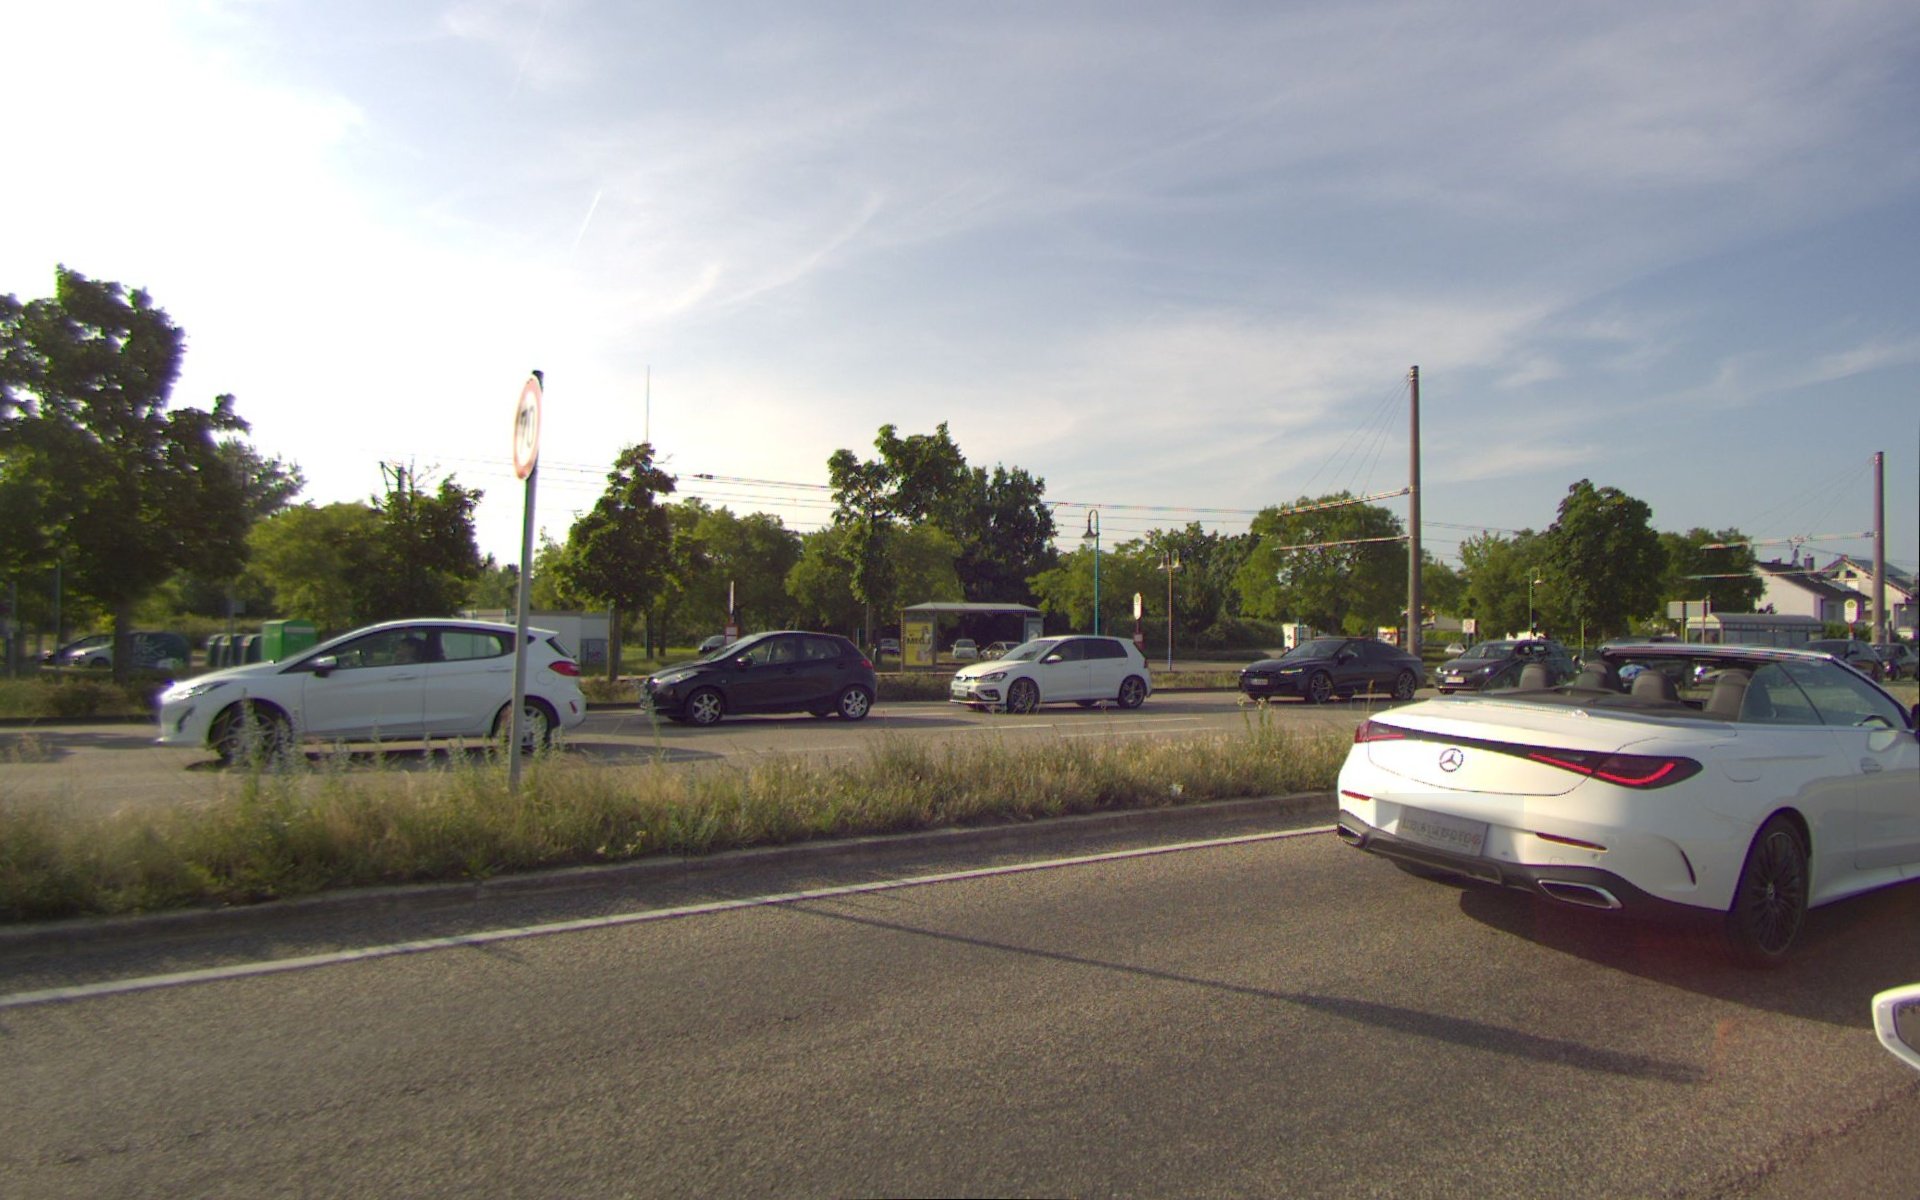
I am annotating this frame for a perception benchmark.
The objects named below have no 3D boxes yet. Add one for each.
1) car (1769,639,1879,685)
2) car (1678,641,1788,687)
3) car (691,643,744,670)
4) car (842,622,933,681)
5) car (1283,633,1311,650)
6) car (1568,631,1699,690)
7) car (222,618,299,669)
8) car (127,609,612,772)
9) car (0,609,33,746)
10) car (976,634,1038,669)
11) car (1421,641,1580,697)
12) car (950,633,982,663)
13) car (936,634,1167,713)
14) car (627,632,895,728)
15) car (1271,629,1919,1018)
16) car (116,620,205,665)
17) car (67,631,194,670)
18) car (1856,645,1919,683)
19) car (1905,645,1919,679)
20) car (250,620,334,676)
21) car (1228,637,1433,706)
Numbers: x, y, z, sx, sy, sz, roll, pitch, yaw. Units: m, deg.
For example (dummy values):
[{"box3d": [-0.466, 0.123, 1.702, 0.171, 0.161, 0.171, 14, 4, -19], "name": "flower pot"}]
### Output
[{"box3d": [31.523, 2.251, 36.624, 4.493, 1.583, 1.653, 2, -3, -30], "name": "car"}, {"box3d": [26.042, 2.130, 33.823, 3.760, 1.450, 1.653, 2, -3, -30], "name": "car"}, {"box3d": [-15.722, 3.661, 65.384, 1.921, 1.432, 4.160, 2, 0, 9], "name": "car"}, {"box3d": [-2.315, 1.549, 31.059, 1.968, 1.573, 3.985, 2, 0, -17], "name": "car"}, {"box3d": [30.249, 3.746, 90.196, 1.699, 1.384, 3.626, -1, -4, 7], "name": "car"}, {"box3d": [20.633, 1.832, 30.739, 4.179, 1.709, 1.653, 2, -3, -30], "name": "car"}, {"box3d": [-28.777, 1.776, 41.437, 1.808, 1.902, 3.655, 2, 0, -22], "name": "car"}, {"box3d": [-6.210, 0.926, 11.065, 4.243, 1.489, 1.811, 2, -3, -30], "name": "car"}, {"box3d": [-13.051, 0.867, 10.958, 3.953, 1.610, 1.789, 2, -3, -30], "name": "car"}, {"box3d": [2.585, 2.868, 56.064, 1.970, 1.684, 3.980, 2, 0, -21], "name": "car"}, {"box3d": [14.426, 1.800, 26.748, 4.488, 1.399, 1.653, 2, -3, -30], "name": "car"}, {"box3d": [0.414, 3.092, 65.239, 1.960, 1.684, 4.000, 2, 0, 1], "name": "car"}, {"box3d": [1.839, 1.409, 19.743, 4.416, 1.399, 1.653, 2, -3, -30], "name": "car"}, {"box3d": [-3.190, 1.246, 16.300, 3.953, 1.399, 1.653, 2, -3, -30], "name": "car"}, {"box3d": [4.181, 0.906, 5.676, 4.891, 1.355, 1.763, 2, 0, -30], "name": "car"}, {"box3d": [-29.891, 1.552, 37.541, 3.939, 1.439, 1.826, 2, 0, 40], "name": "car"}, {"box3d": [-37.514, 2.255, 45.523, 1.965, 1.558, 3.992, 2, 0, 31], "name": "car"}, {"box3d": [37.587, 2.545, 40.096, 3.760, 1.450, 1.653, 2, -3, -30], "name": "car"}, {"box3d": [42.904, 2.690, 43.459, 4.662, 1.450, 1.653, 2, -3, -30], "name": "car"}, {"box3d": [-25.668, 1.790, 38.563, 3.623, 1.902, 1.824, 2, 0, 42], "name": "car"}, {"box3d": [8.490, 1.584, 22.874, 4.917, 1.433, 1.653, 2, -3, -30], "name": "car"}]
